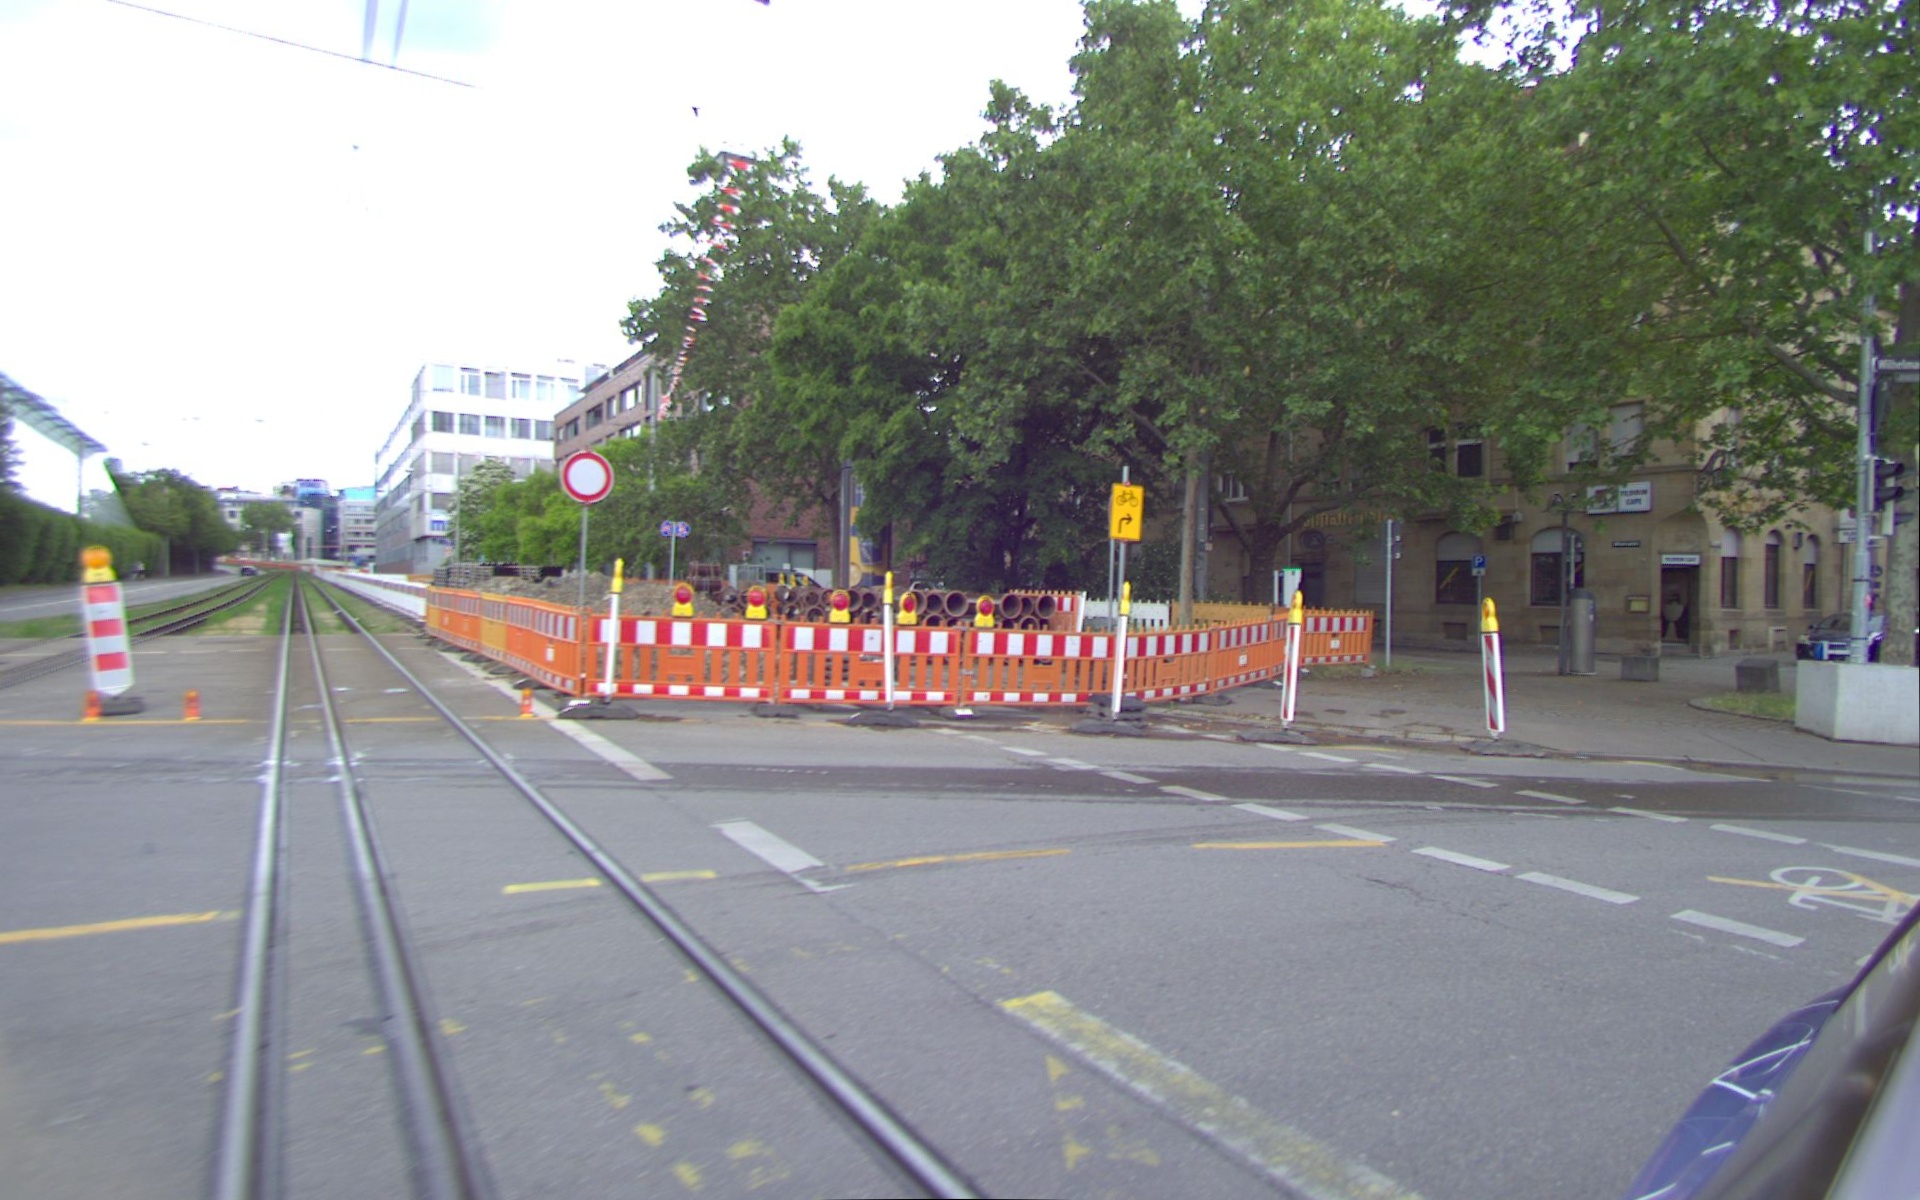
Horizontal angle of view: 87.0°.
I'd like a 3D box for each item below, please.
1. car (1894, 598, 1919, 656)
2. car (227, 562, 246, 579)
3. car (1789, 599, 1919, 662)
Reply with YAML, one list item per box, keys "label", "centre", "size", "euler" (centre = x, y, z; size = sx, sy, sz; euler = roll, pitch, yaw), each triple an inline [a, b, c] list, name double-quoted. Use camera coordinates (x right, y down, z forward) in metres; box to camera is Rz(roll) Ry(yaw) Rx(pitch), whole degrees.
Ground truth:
- label: "car"
  centre: [28.999, 0.767, 29.519]
  size: [3.922, 1.609, 1.622]
  euler: [-1, 2, -32]
- label: "car"
  centre: [-102.790, -4.185, 143.859]
  size: [1.961, 2.040, 4.000]
  euler: [0, -3, -32]
- label: "car"
  centre: [24.018, 0.795, 26.774]
  size: [4.006, 1.482, 1.735]
  euler: [1, 2, -28]
